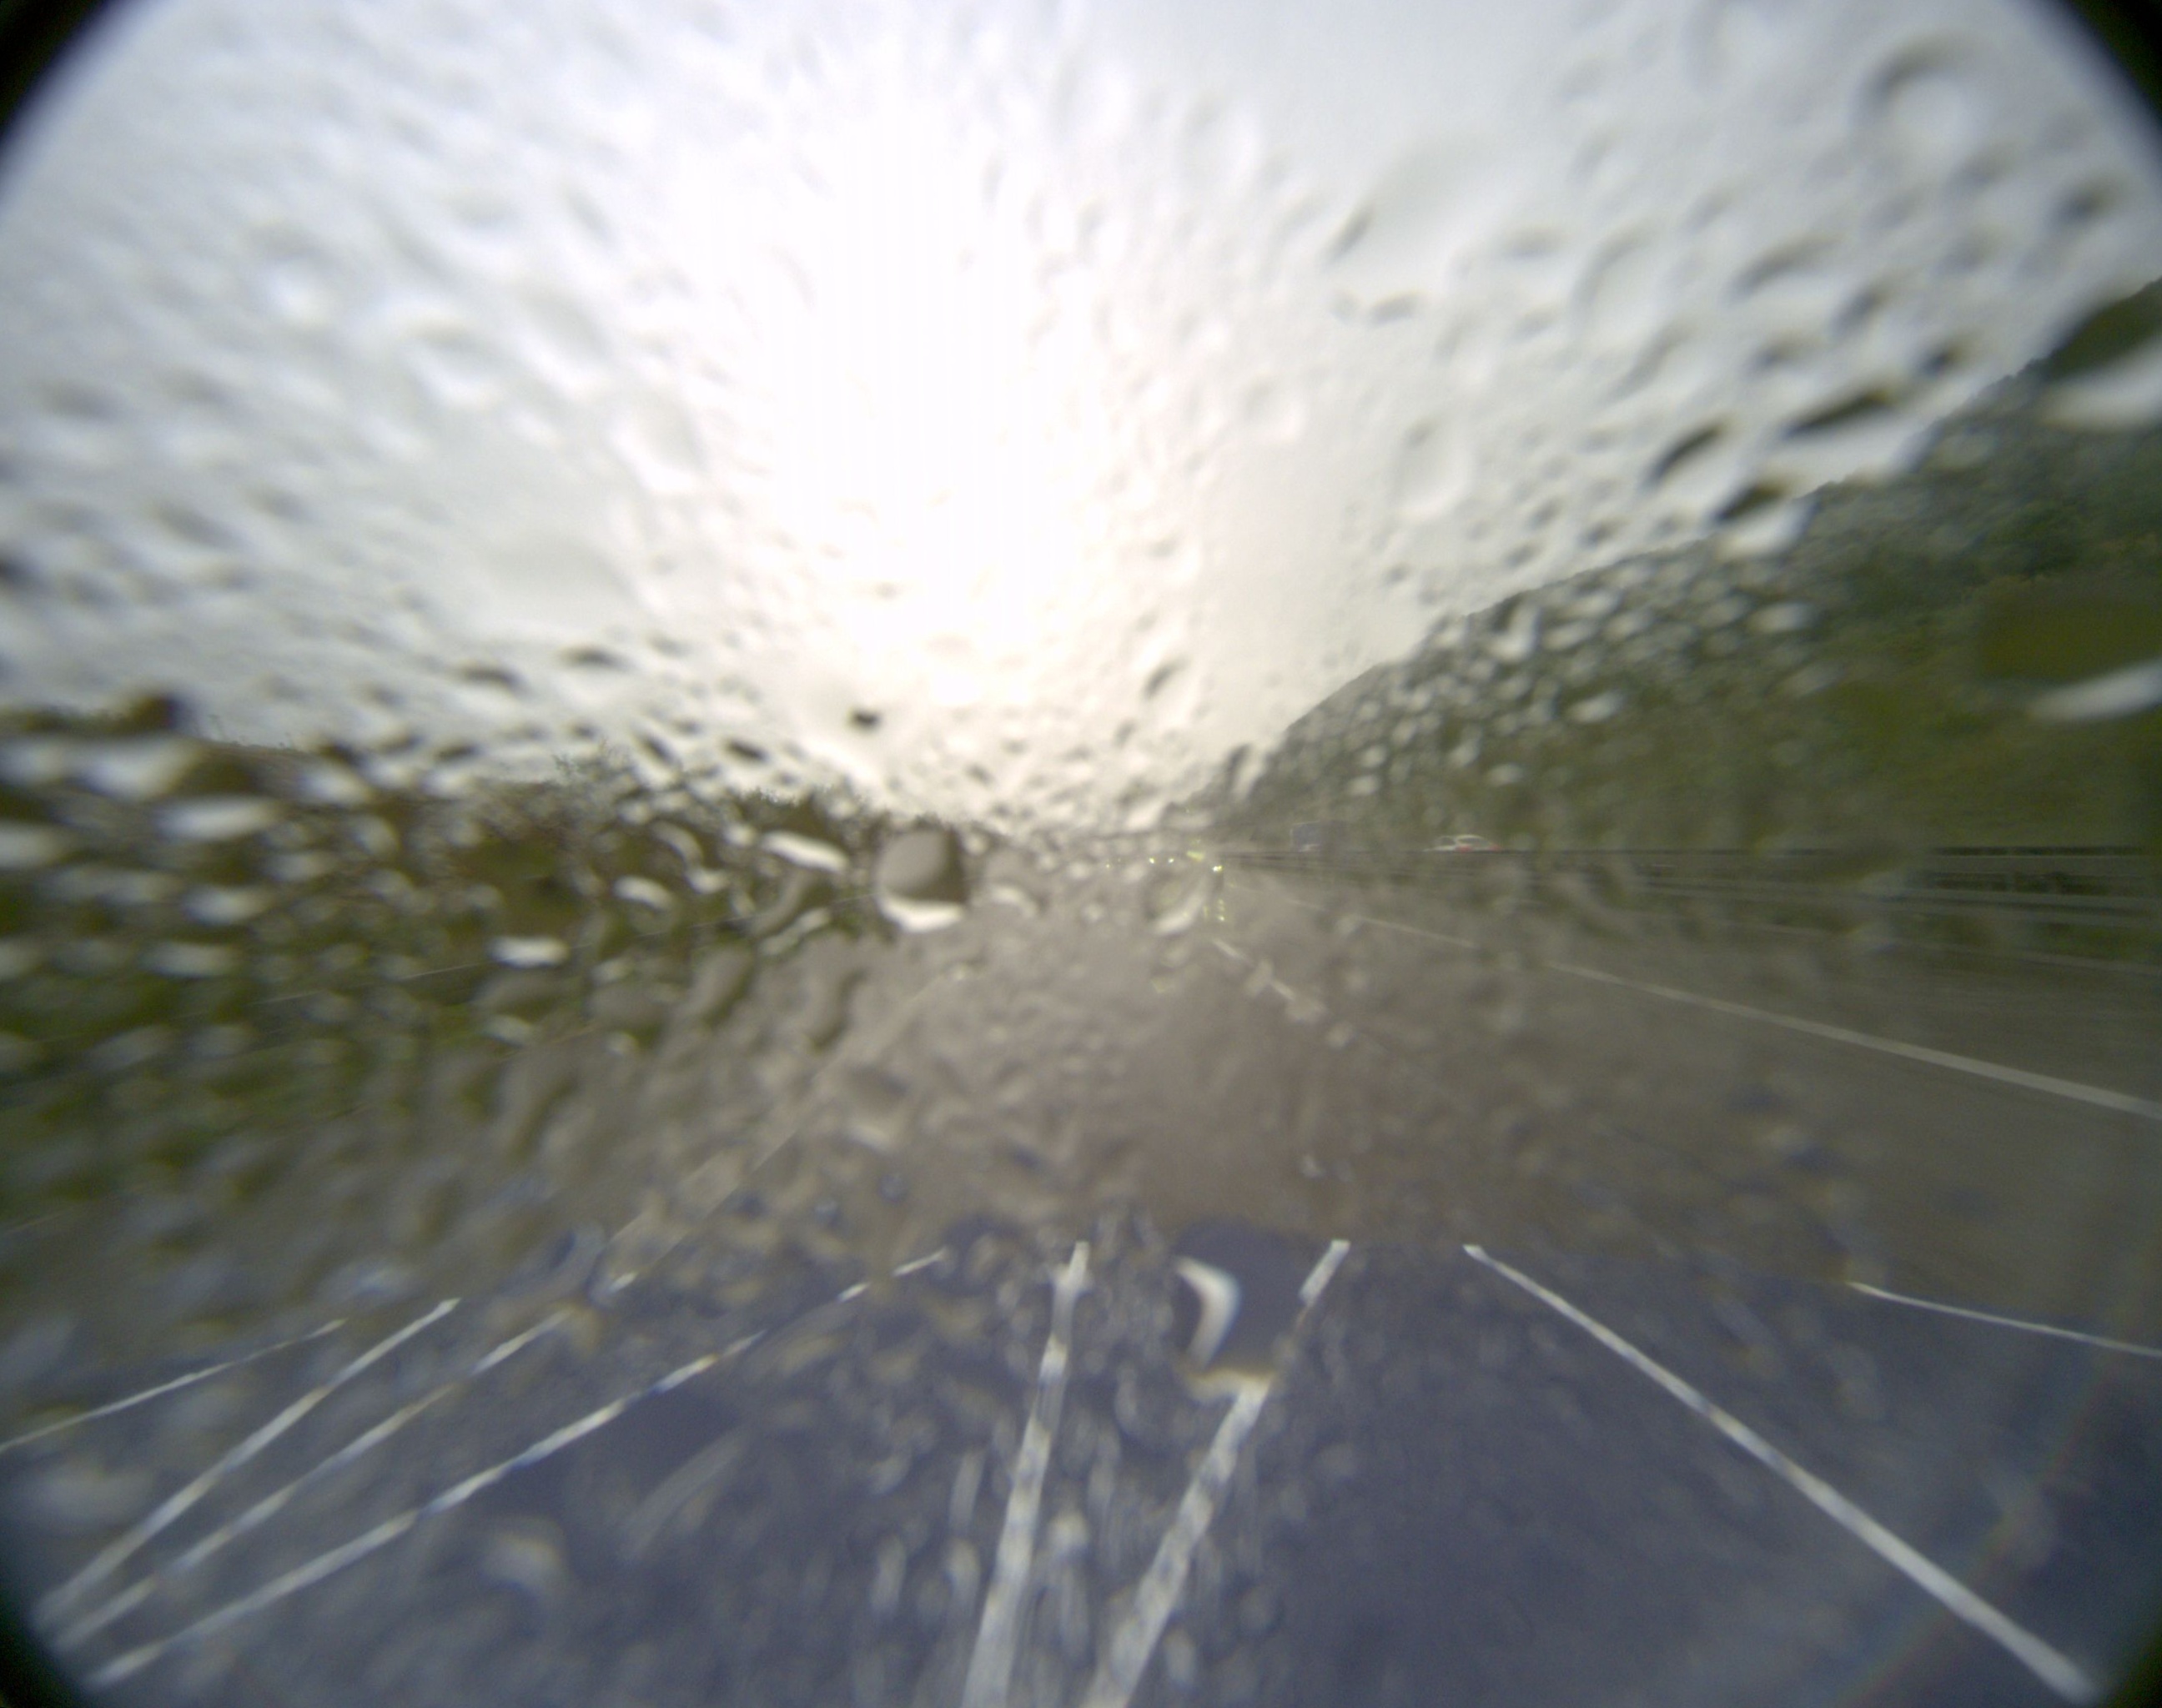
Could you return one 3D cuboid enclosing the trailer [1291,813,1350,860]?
[{"bbox_3d":[26.869,-1.863,86.117,2.743,4.758,14.044,-2,0,3],"label":"trailer"}]

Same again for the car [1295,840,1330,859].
[{"bbox_3d":[22.310,-0.448,73.362,1.998,1.735,4.659,-2,0,2],"label":"car"}]

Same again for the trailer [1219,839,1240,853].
[{"bbox_3d":[34.265,-1.847,175.806,2.819,3.035,14.903,-2,0,5],"label":"trailer"}]

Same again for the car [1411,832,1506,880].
[{"bbox_3d":[17.447,0.086,35.451,1.998,2.002,5.391,-2,0,3],"label":"car"}]

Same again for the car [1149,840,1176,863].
[{"bbox_3d":[6.658,-0.228,62.314,1.814,1.692,3.749,-2,1,2],"label":"car"}]

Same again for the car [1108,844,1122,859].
[{"bbox_3d":[4.835,-0.328,108.519,1.835,2.002,3.938,-3,1,2],"label":"car"}]

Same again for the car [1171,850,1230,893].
[{"bbox_3d":[5.028,0.685,32.630,1.998,1.673,4.909,-1,1,3],"label":"car"}]

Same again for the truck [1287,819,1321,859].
[{"bbox_3d":[27.194,-1.809,92.934,2.695,4.645,5.156,-2,1,3],"label":"truck"}]
